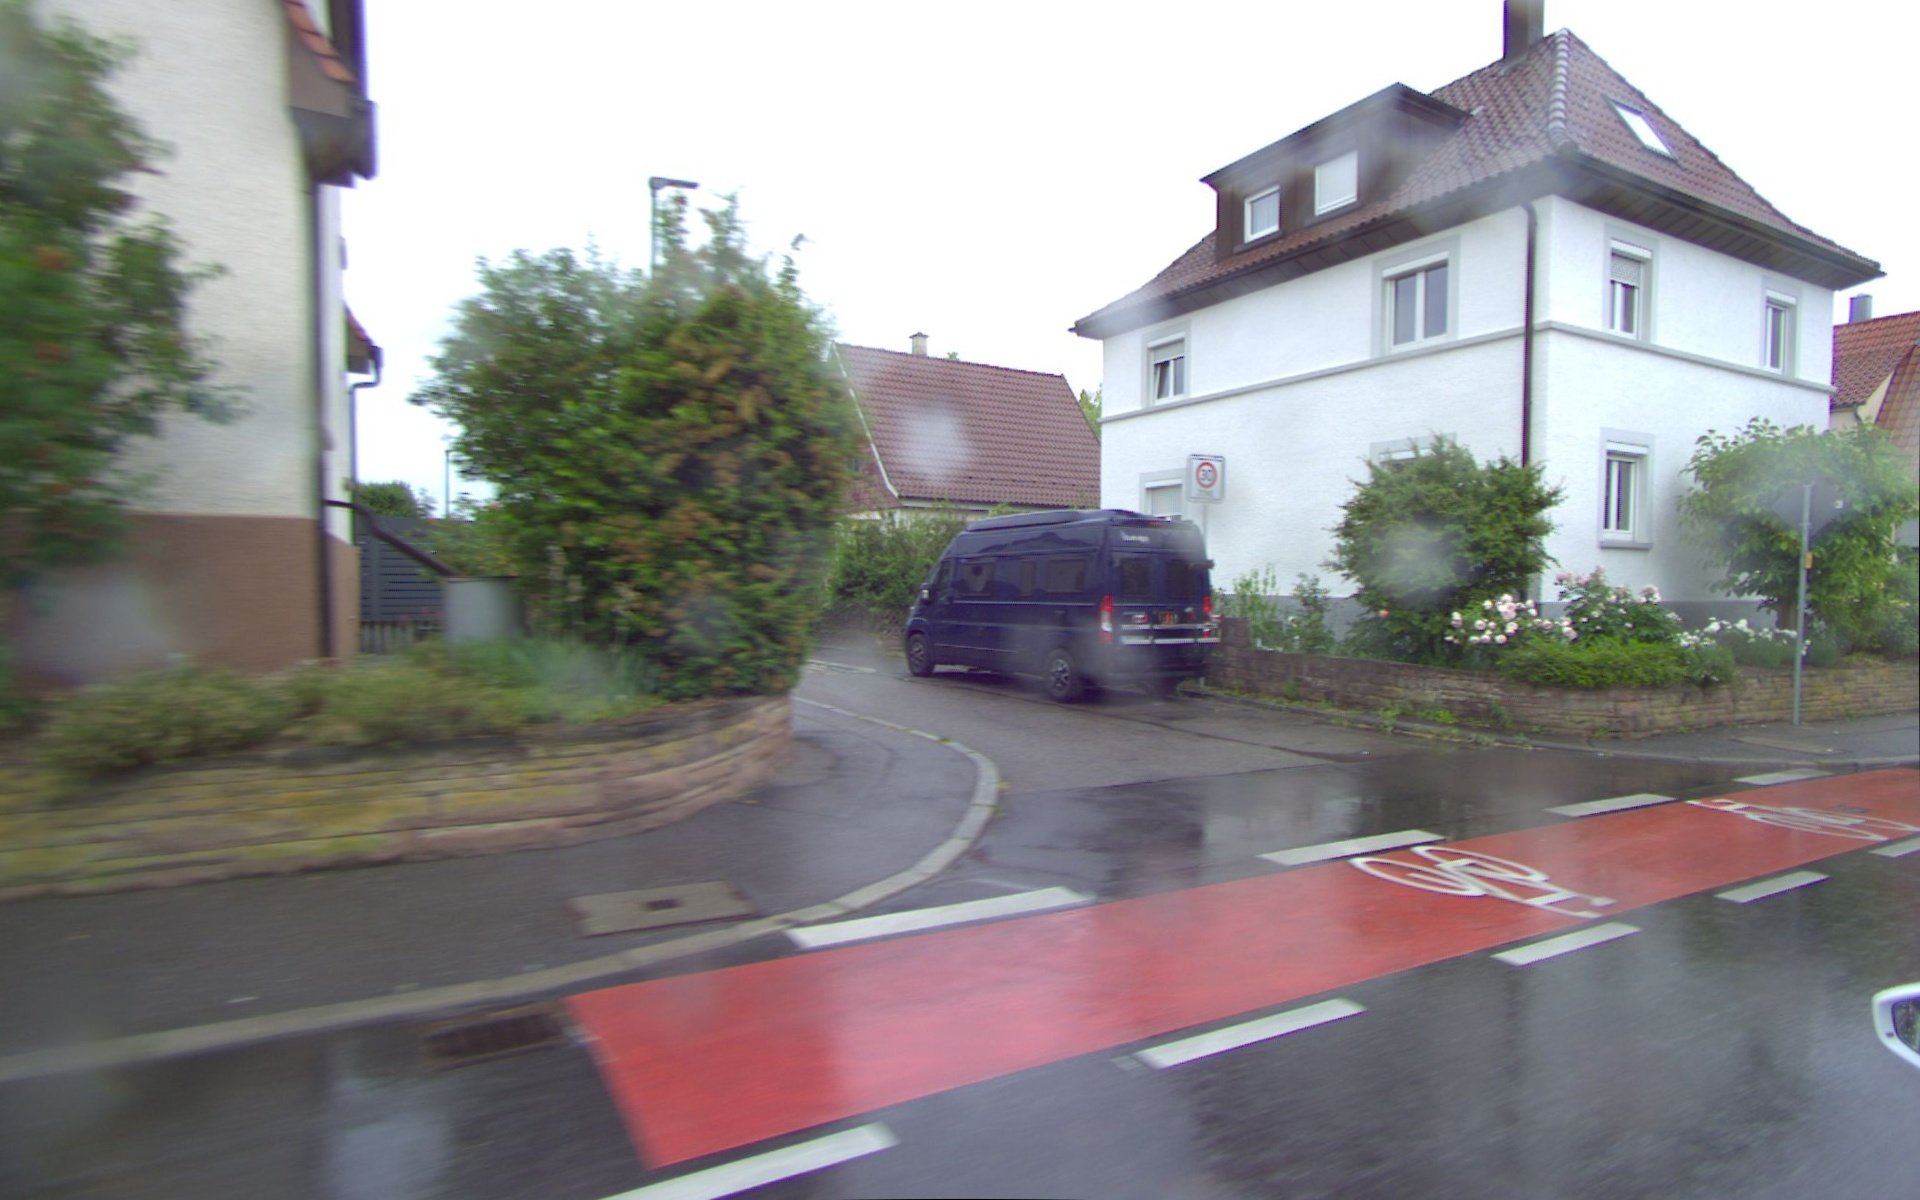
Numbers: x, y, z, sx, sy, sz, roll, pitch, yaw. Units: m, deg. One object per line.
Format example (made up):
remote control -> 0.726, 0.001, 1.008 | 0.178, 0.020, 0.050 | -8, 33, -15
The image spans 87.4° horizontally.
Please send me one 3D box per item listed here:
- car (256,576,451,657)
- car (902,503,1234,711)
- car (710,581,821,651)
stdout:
car -> -12.389, 0.334, 20.696 | 3.301, 1.539, 1.583 | 1, 0, -31
car -> 1.408, 0.038, 15.681 | 2.266, 2.641, 5.395 | 1, 1, -32
car -> -5.167, 0.391, 26.359 | 1.751, 1.684, 3.550 | 2, 0, -31
